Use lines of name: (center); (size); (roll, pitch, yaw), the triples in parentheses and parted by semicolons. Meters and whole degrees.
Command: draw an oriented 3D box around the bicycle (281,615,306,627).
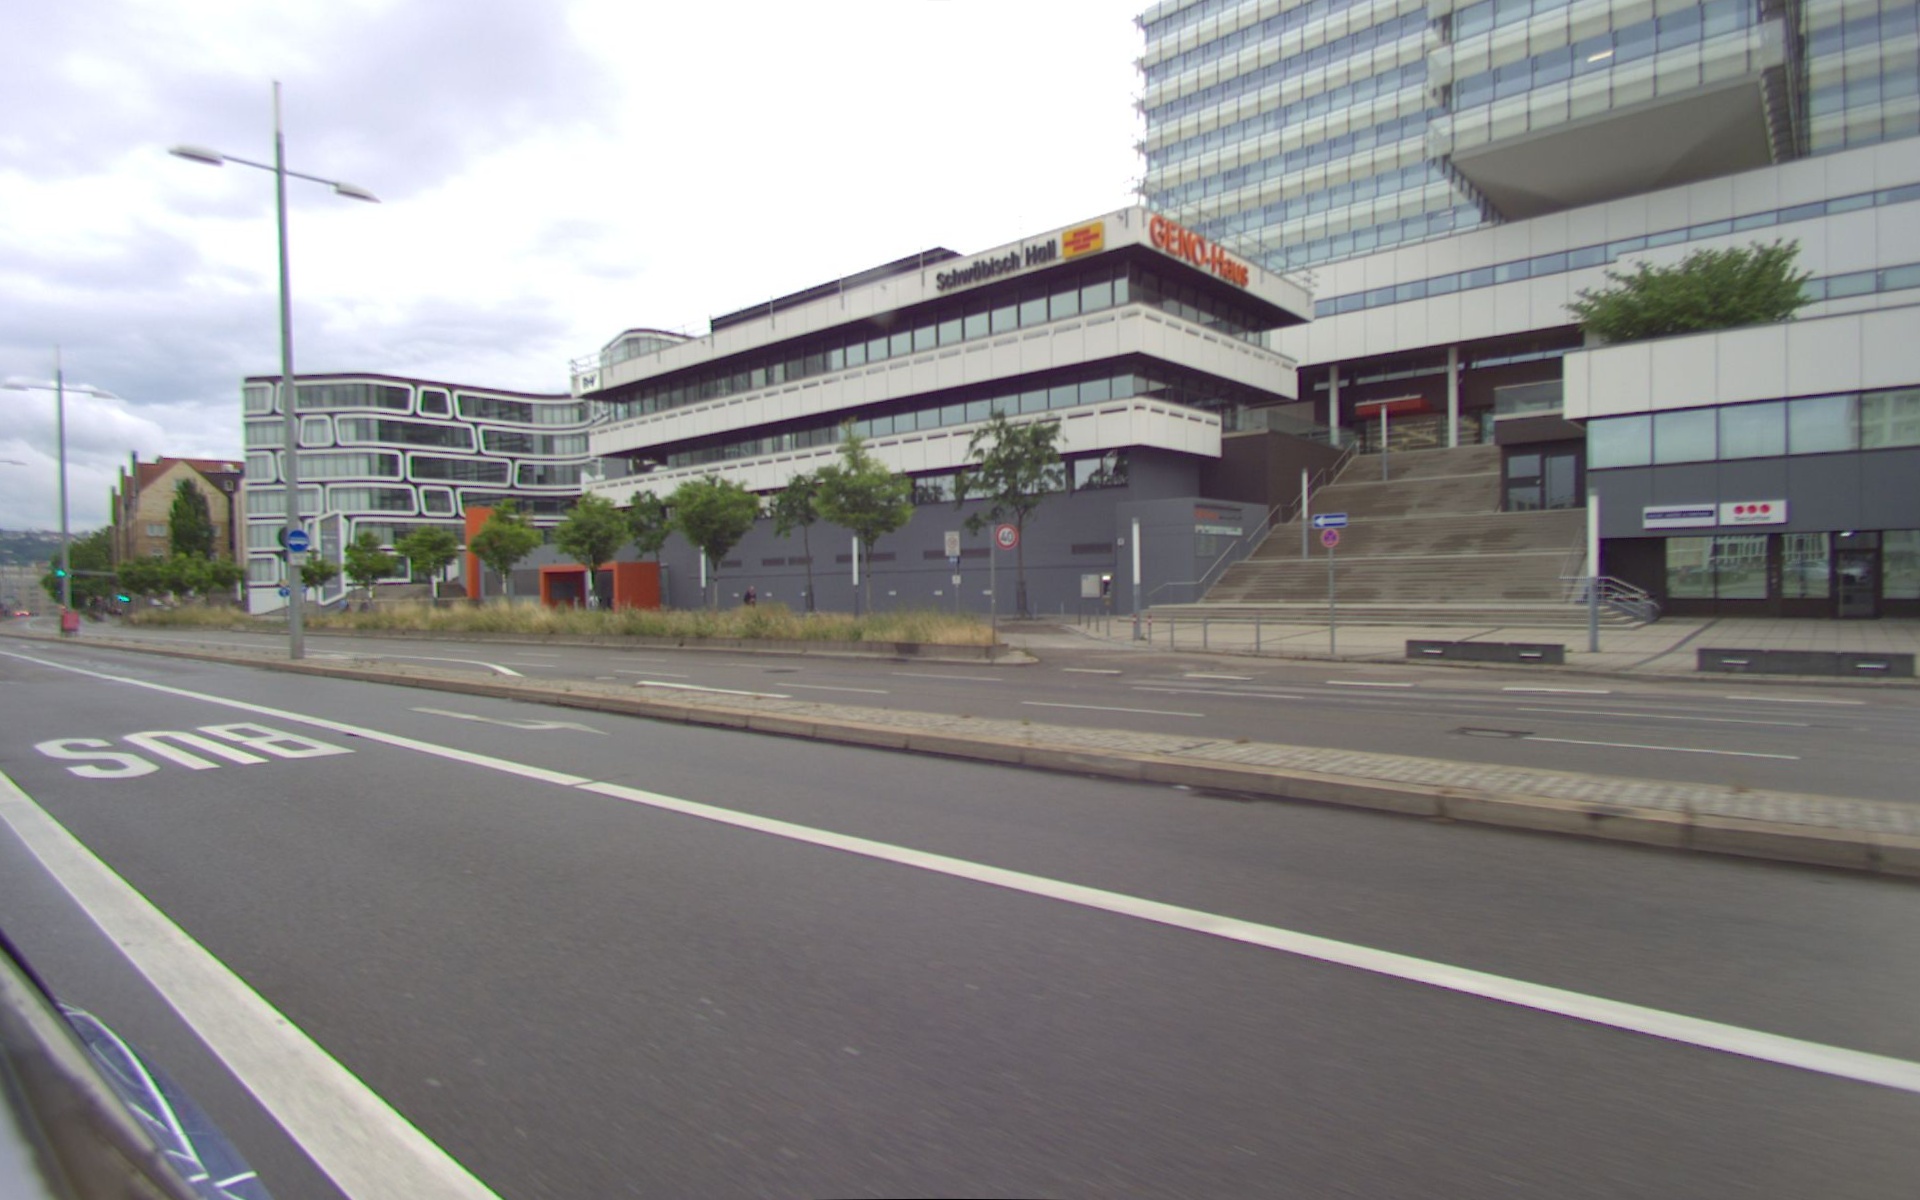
bicycle: (-50.106, 1.569, 76.098); (1.638, 0.864, 0.608); (0, 0, 9)

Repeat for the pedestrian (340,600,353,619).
pedestrian: (-46.776, 0.734, 77.163); (0.798, 1.457, 0.611); (0, 1, 43)

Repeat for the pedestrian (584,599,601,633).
pedestrian: (-19.845, 0.866, 54.648); (0.628, 1.821, 0.623); (0, 1, 42)

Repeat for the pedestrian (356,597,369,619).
pedestrian: (-46.109, 0.615, 78.077); (0.798, 1.670, 0.611); (0, -1, 43)

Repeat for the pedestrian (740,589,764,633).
pedestrian: (-8.790, 0.448, 42.750); (0.628, 1.821, 0.776); (0, 1, 42)

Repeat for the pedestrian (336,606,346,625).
pedestrian: (-53.790, 1.352, 87.952); (0.603, 1.623, 0.640); (-3, 2, -45)
